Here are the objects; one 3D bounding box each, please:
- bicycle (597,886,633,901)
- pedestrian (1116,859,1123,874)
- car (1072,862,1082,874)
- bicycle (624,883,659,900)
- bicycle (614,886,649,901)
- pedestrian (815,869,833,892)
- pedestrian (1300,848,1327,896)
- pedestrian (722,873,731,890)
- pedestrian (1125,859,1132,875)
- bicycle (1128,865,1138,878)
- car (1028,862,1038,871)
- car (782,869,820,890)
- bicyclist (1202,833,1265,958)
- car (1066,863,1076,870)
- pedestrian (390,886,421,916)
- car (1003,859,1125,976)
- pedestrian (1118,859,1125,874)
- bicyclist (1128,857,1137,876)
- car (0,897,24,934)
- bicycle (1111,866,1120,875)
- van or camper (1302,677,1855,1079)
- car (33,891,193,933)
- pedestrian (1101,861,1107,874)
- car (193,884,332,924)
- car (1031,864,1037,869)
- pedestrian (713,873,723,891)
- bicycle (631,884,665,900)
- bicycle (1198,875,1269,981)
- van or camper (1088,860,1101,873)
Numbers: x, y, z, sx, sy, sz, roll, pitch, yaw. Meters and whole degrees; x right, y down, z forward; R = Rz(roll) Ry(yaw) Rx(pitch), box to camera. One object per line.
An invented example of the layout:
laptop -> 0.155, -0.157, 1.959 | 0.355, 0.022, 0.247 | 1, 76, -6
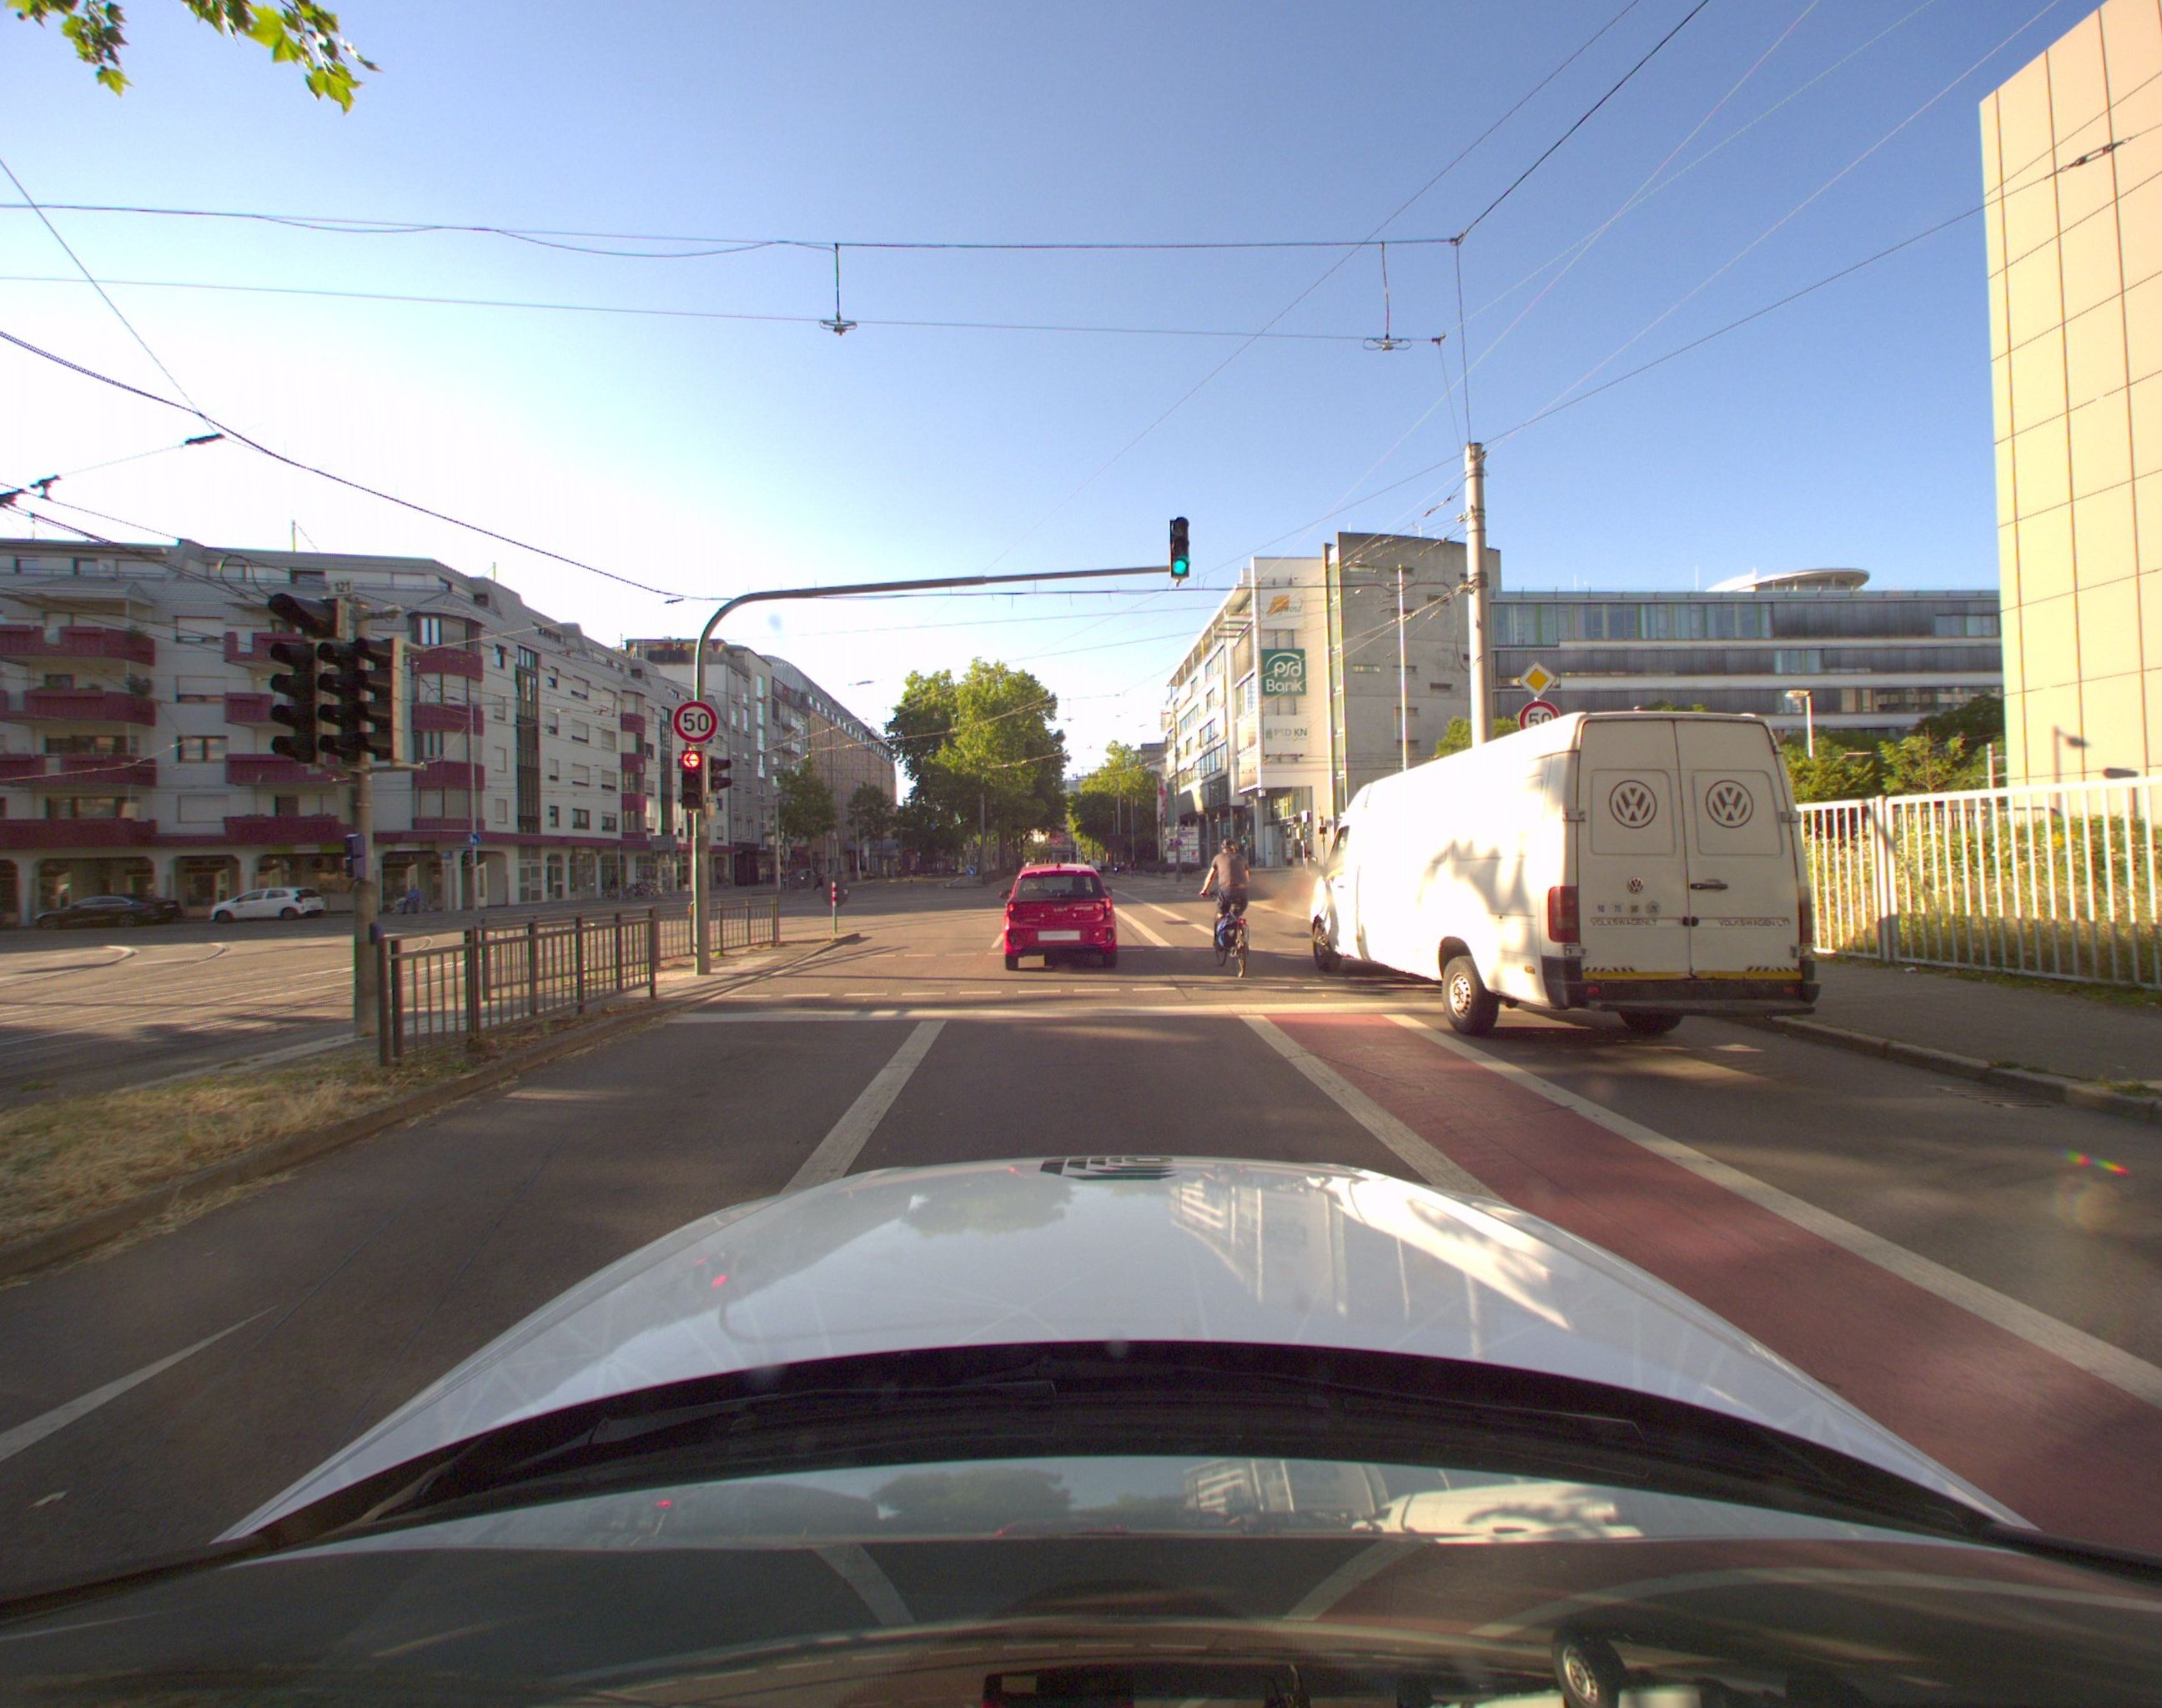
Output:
bicycle -> -28.034, 2.372, 49.027 | 1.837, 0.854, 0.553 | -2, -1, -1
pedestrian -> 4.170, 1.361, 88.177 | 0.645, 1.680, 0.650 | -2, -1, -4
car -> -0.719, 2.343, 136.054 | 1.630, 1.800, 3.328 | -2, -1, -1
bicycle -> -27.553, 2.375, 51.055 | 1.840, 0.985, 0.552 | -2, -1, -6
bicycle -> -27.466, 2.434, 49.784 | 1.837, 0.854, 0.553 | -2, -1, -1
pedestrian -> -17.888, 1.832, 56.674 | 1.045, 1.544, 0.692 | -2, -1, -9
pedestrian -> 9.187, 0.702, 32.252 | 0.773, 1.824, 1.218 | -2, -1, 6
pedestrian -> -31.152, 2.444, 71.630 | 0.533, 1.494, 0.586 | -2, -1, -6
pedestrian -> 5.477, 1.477, 93.951 | 0.539, 1.796, 0.905 | -5, -1, -5
bicycle -> 4.582, 1.551, 71.846 | 0.694, 1.098, 1.751 | -5, 0, 1
car -> -10.824, 2.752, 182.669 | 1.991, 2.014, 3.992 | -2, -1, -6
car -> -23.866, 2.150, 69.539 | 1.951, 1.672, 4.255 | -2, 0, -3
bicyclist -> 2.067, 0.541, 11.157 | 0.647, 1.603, 1.089 | -2, -1, 2
car -> -2.107, 2.648, 173.698 | 1.776, 1.535, 3.503 | -1, -1, -7
pedestrian -> -32.416, 2.234, 39.092 | 0.857, 1.384, 0.833 | -2, -1, -13
car -> -0.296, 0.860, 12.601 | 1.609, 1.535, 3.408 | -1, -1, -2
pedestrian -> 4.685, 1.397, 93.800 | 0.563, 1.702, 0.905 | -5, -1, -5
bicyclist -> 4.538, 1.125, 71.774 | 0.719, 1.603, 1.089 | -4, -1, 1
car -> -48.449, 2.715, 34.296 | 4.572, 1.555, 1.992 | -2, -1, -11
bicycle -> 3.719, 1.775, 87.965 | 0.520, 0.975, 2.196 | -5, 0, -6
van or camper -> 4.244, 0.176, 8.695 | 1.963, 2.716, 6.302 | -1, 0, -1
car -> -42.267, 2.507, 35.662 | 4.112, 1.555, 1.992 | -2, -1, -11
pedestrian -> 2.991, 1.759, 105.846 | 0.641, 1.579, 0.722 | -5, -1, -5
car -> -37.009, 2.242, 36.937 | 3.989, 1.555, 1.992 | -2, -1, -11
car -> -14.777, 3.898, 254.715 | 1.776, 1.535, 3.403 | -1, -1, -7
pedestrian -> -31.793, 2.444, 71.334 | 0.533, 1.494, 0.586 | -2, -1, -6
bicycle -> -27.462, 2.407, 51.668 | 1.840, 0.985, 0.552 | -2, -1, -6
bicycle -> 2.053, 0.956, 11.208 | 0.647, 1.281, 1.967 | -2, -1, 2
van or camper -> 2.148, 1.979, 130.545 | 1.988, 1.989, 4.741 | -1, -1, -1
